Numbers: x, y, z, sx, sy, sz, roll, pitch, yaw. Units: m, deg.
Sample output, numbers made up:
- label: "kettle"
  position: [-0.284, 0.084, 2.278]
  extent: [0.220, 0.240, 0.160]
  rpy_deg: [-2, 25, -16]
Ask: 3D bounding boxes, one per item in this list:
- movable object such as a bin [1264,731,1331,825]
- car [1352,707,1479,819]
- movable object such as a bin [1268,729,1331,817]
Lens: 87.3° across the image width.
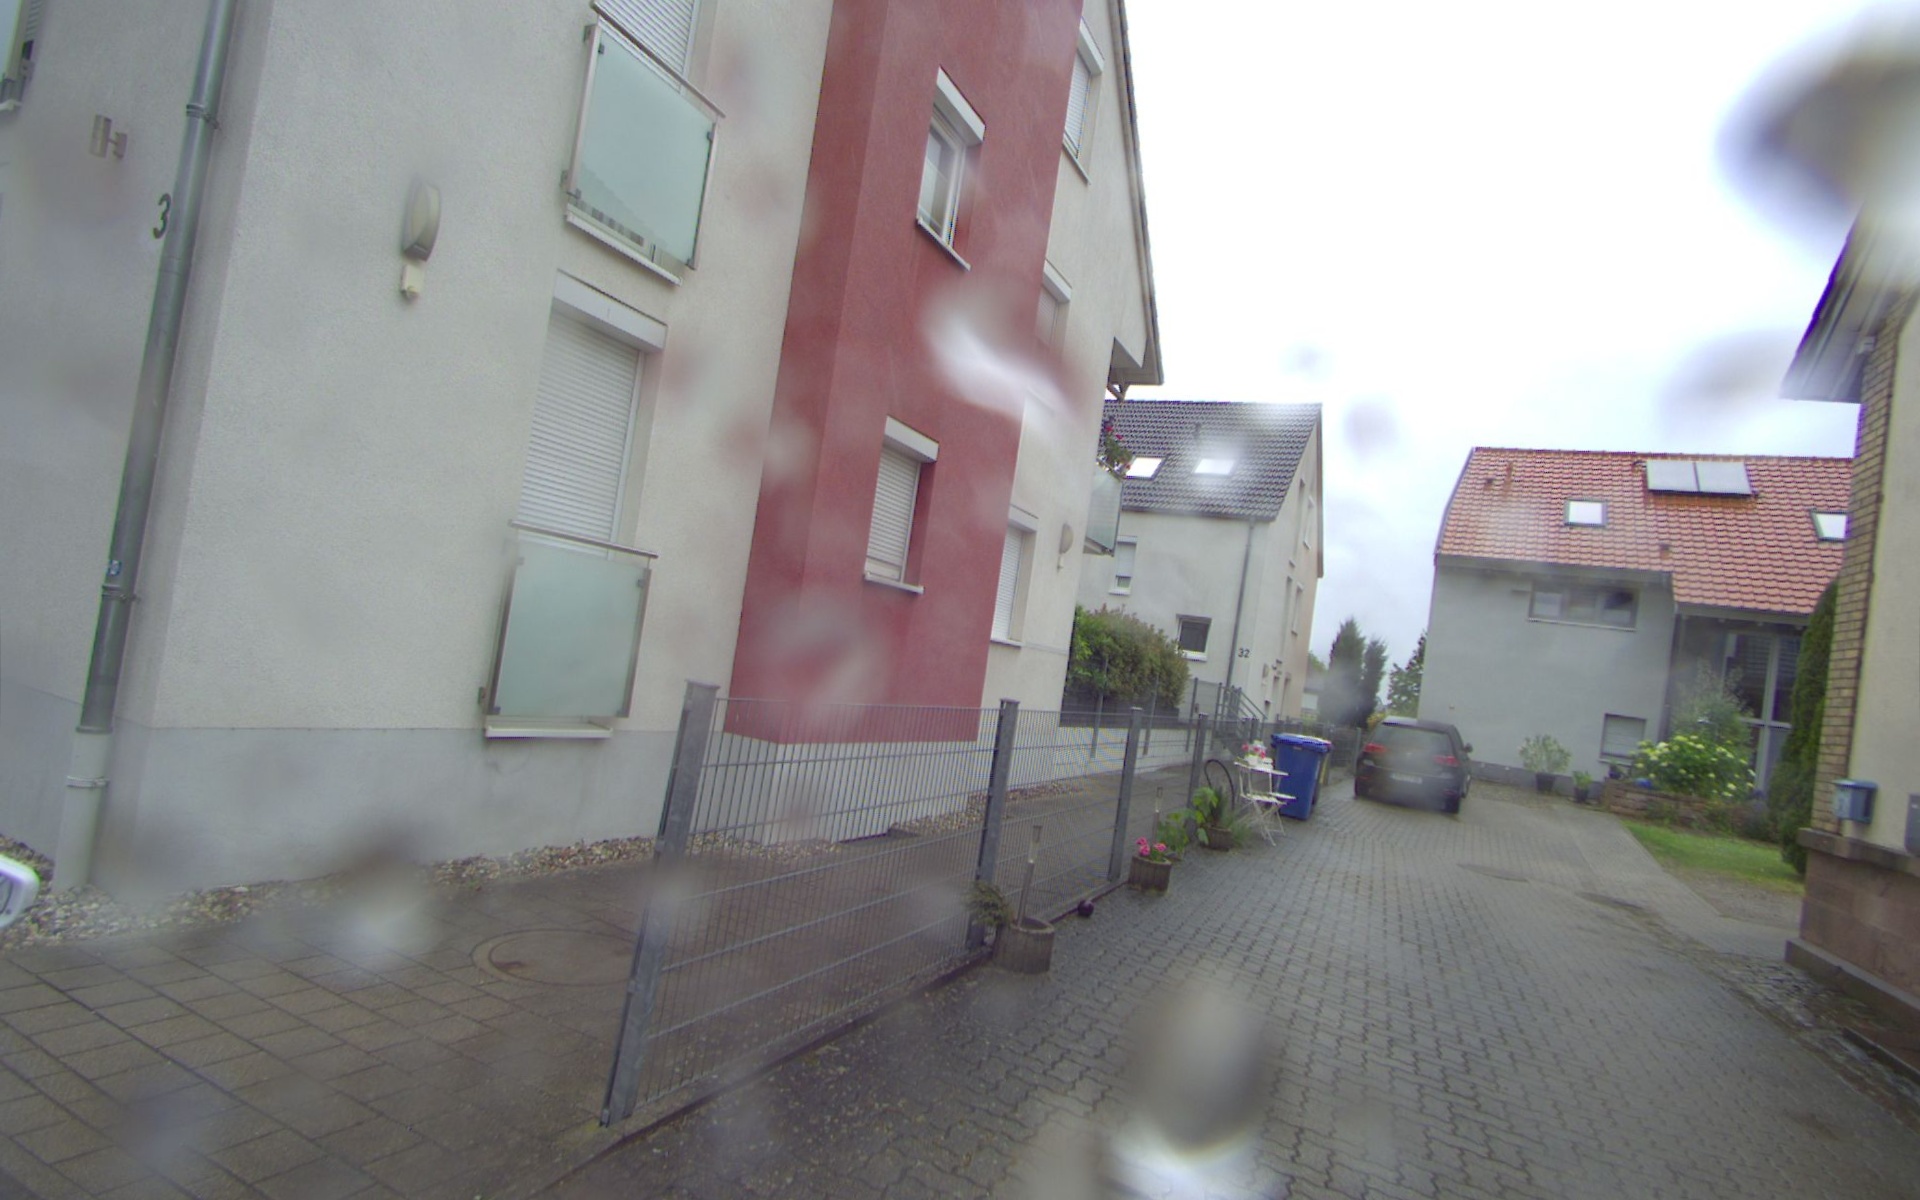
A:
- label: "movable object such as a bin"
  position: [4.523, 2.366, 13.462]
  extent: [0.675, 1.108, 0.536]
  rpy_deg: [7, -2, 25]
- label: "car"
  position: [8.551, 2.913, 18.701]
  extent: [1.656, 1.491, 3.993]
  rpy_deg: [7, 0, 30]
- label: "movable object such as a bin"
  position: [4.817, 2.437, 14.259]
  extent: [0.675, 1.108, 0.536]
  rpy_deg: [7, -2, 25]
